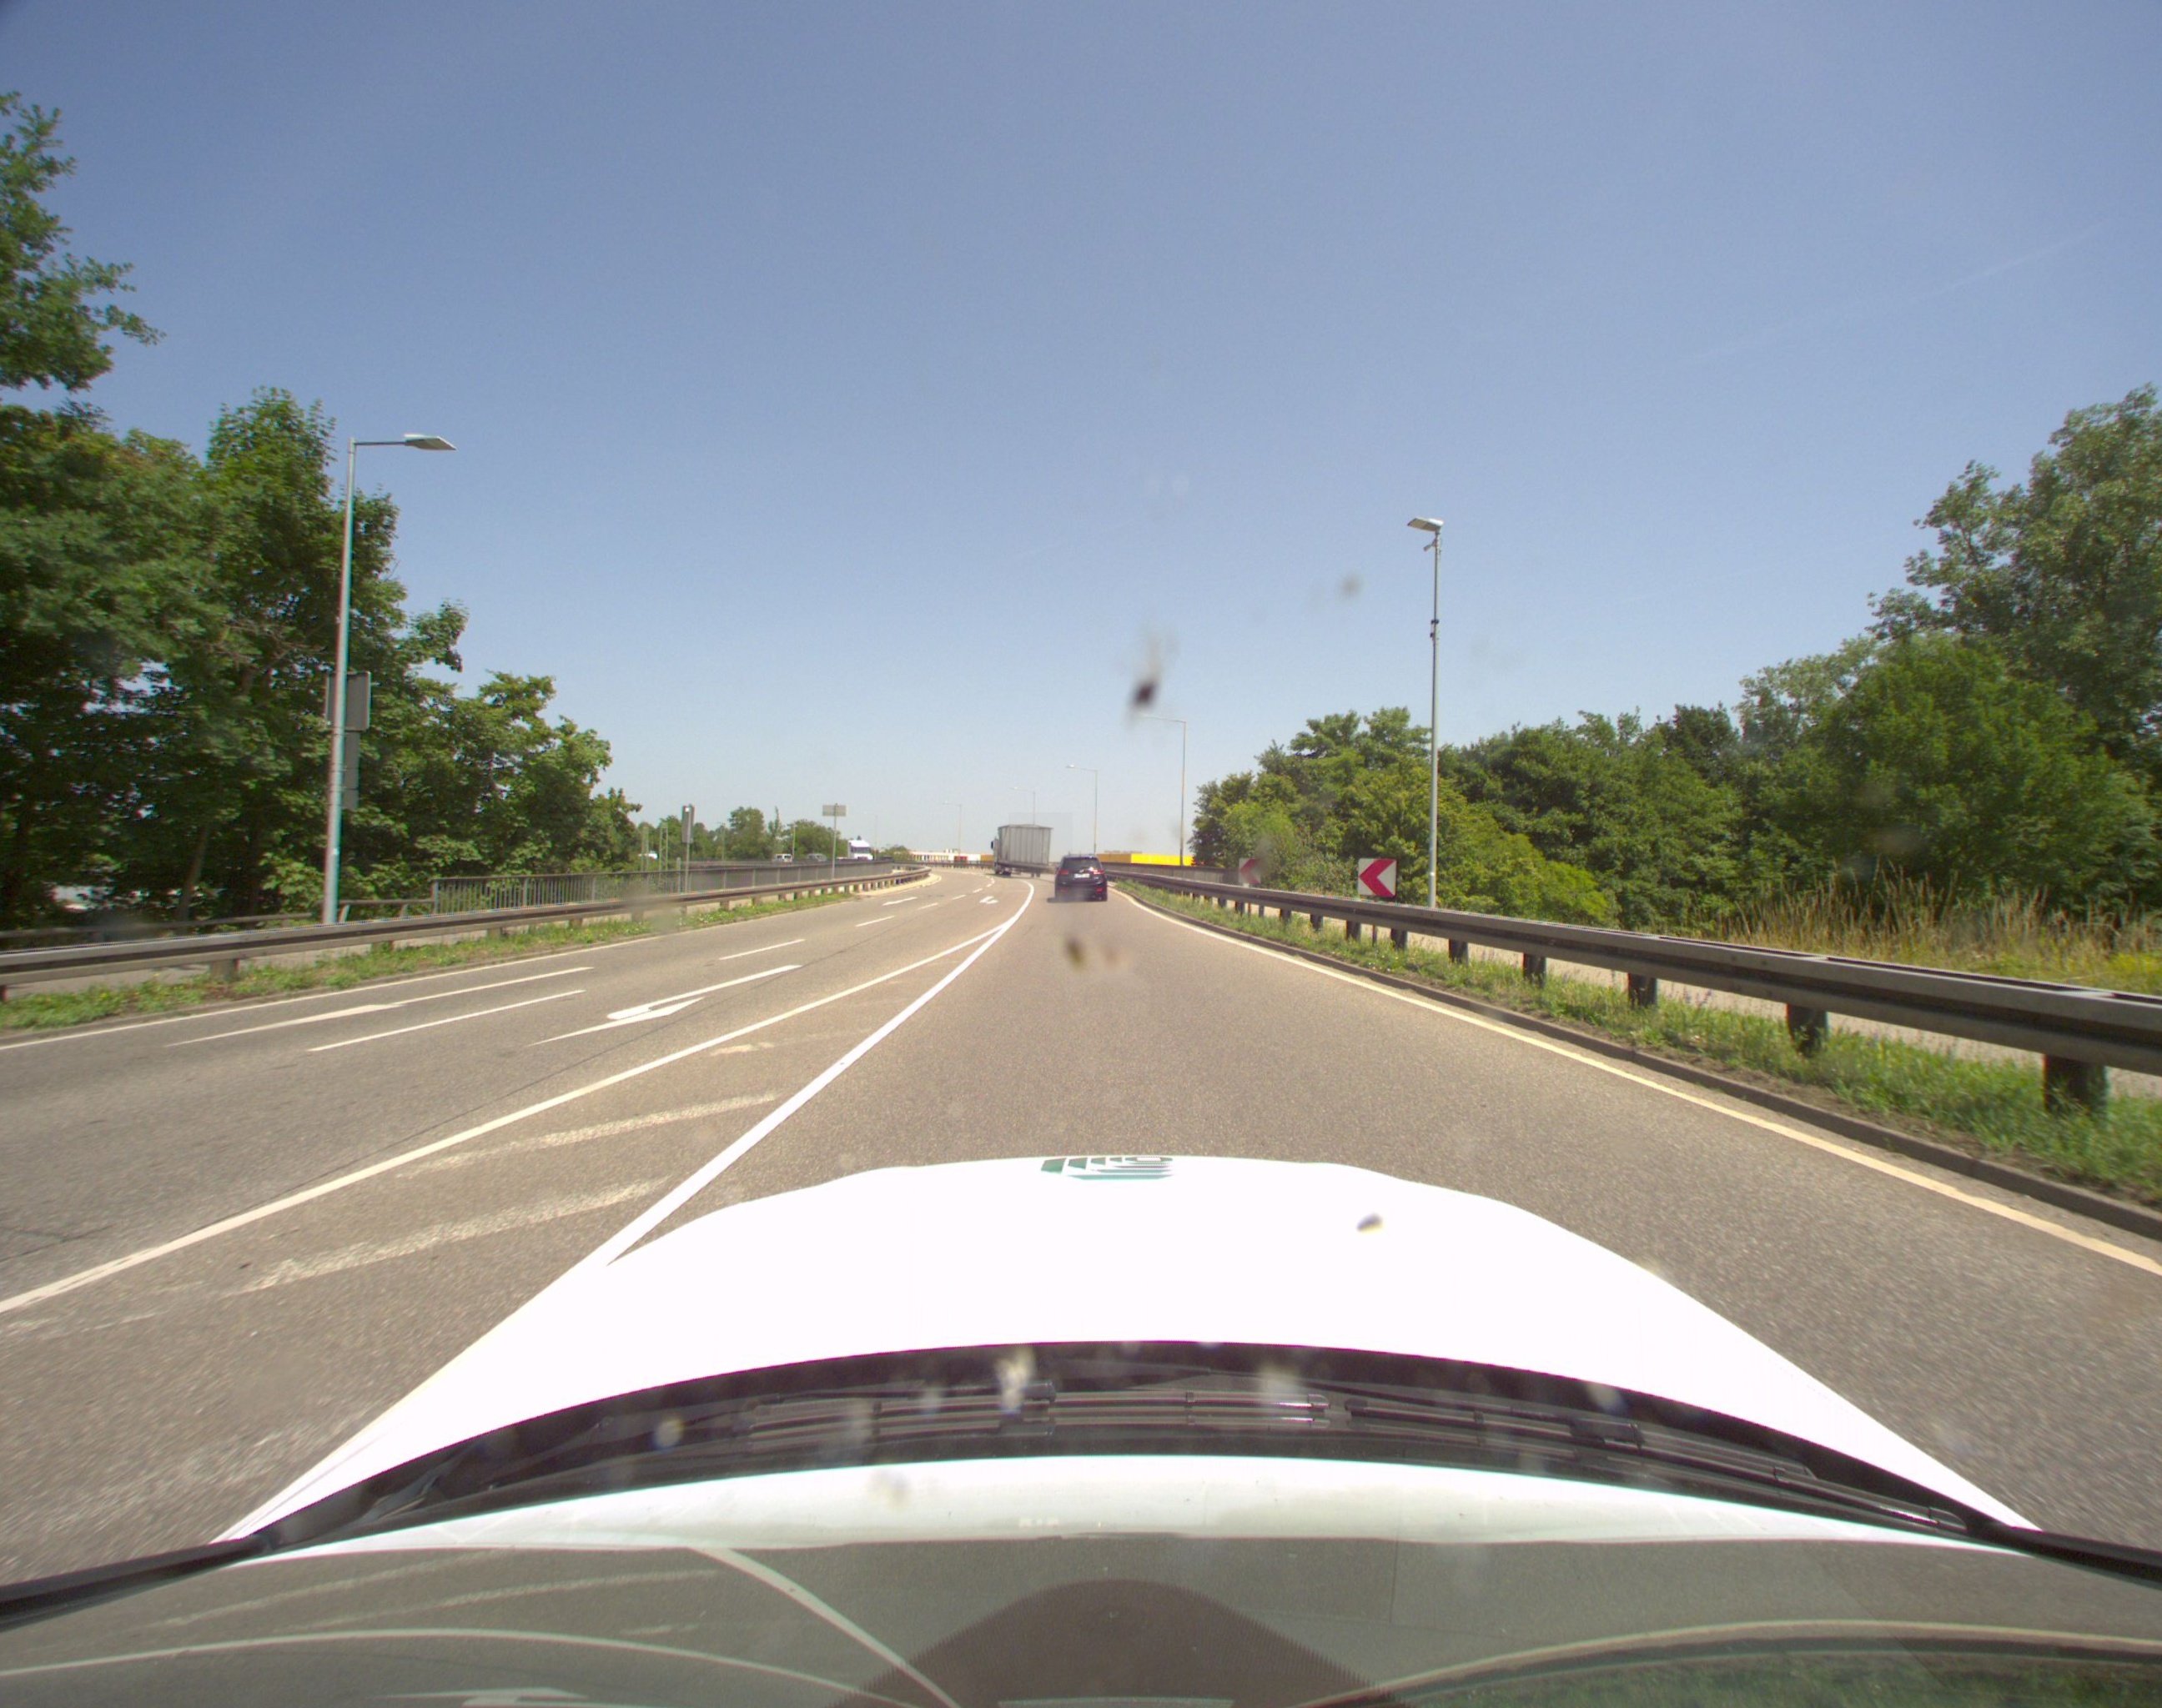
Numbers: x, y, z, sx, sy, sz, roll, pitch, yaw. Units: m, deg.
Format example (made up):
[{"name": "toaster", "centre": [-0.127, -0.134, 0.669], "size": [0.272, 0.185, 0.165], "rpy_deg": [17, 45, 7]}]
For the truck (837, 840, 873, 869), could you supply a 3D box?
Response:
[{"name": "truck", "centre": [-32.516, 0.043, 117.124], "size": [2.728, 3.991, 6.115], "rpy_deg": [1, 0, -39]}]

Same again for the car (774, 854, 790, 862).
[{"name": "car", "centre": [-53.169, 0.718, 144.879], "size": [1.571, 1.386, 3.574], "rpy_deg": [1, 0, -38]}]

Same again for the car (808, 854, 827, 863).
[{"name": "car", "centre": [-41.255, 0.703, 127.405], "size": [1.571, 1.386, 3.574], "rpy_deg": [1, 0, -38]}]

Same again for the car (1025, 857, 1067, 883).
[{"name": "car", "centre": [-2.059, 0.886, 47.381], "size": [2.011, 1.429, 3.764], "rpy_deg": [1, 0, -9]}]

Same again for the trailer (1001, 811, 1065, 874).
[{"name": "trailer", "centre": [-3.900, -0.829, 62.694], "size": [3.570, 4.384, 11.402], "rpy_deg": [1, 0, -10]}]

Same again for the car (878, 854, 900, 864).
[{"name": "car", "centre": [-27.691, 0.711, 117.520], "size": [1.854, 1.508, 3.594], "rpy_deg": [1, 0, -36]}]

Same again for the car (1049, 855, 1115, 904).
[{"name": "car", "centre": [-0.043, 0.844, 28.549], "size": [1.919, 1.574, 3.883], "rpy_deg": [1, 0, -6]}]

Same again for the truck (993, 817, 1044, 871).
[{"name": "truck", "centre": [-5.503, -0.820, 70.325], "size": [3.574, 4.441, 6.489], "rpy_deg": [1, 0, -11]}]

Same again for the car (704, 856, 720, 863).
[{"name": "car", "centre": [-72.321, 1.071, 159.609], "size": [3.569, 1.386, 1.573], "rpy_deg": [1, 0, 41]}]
